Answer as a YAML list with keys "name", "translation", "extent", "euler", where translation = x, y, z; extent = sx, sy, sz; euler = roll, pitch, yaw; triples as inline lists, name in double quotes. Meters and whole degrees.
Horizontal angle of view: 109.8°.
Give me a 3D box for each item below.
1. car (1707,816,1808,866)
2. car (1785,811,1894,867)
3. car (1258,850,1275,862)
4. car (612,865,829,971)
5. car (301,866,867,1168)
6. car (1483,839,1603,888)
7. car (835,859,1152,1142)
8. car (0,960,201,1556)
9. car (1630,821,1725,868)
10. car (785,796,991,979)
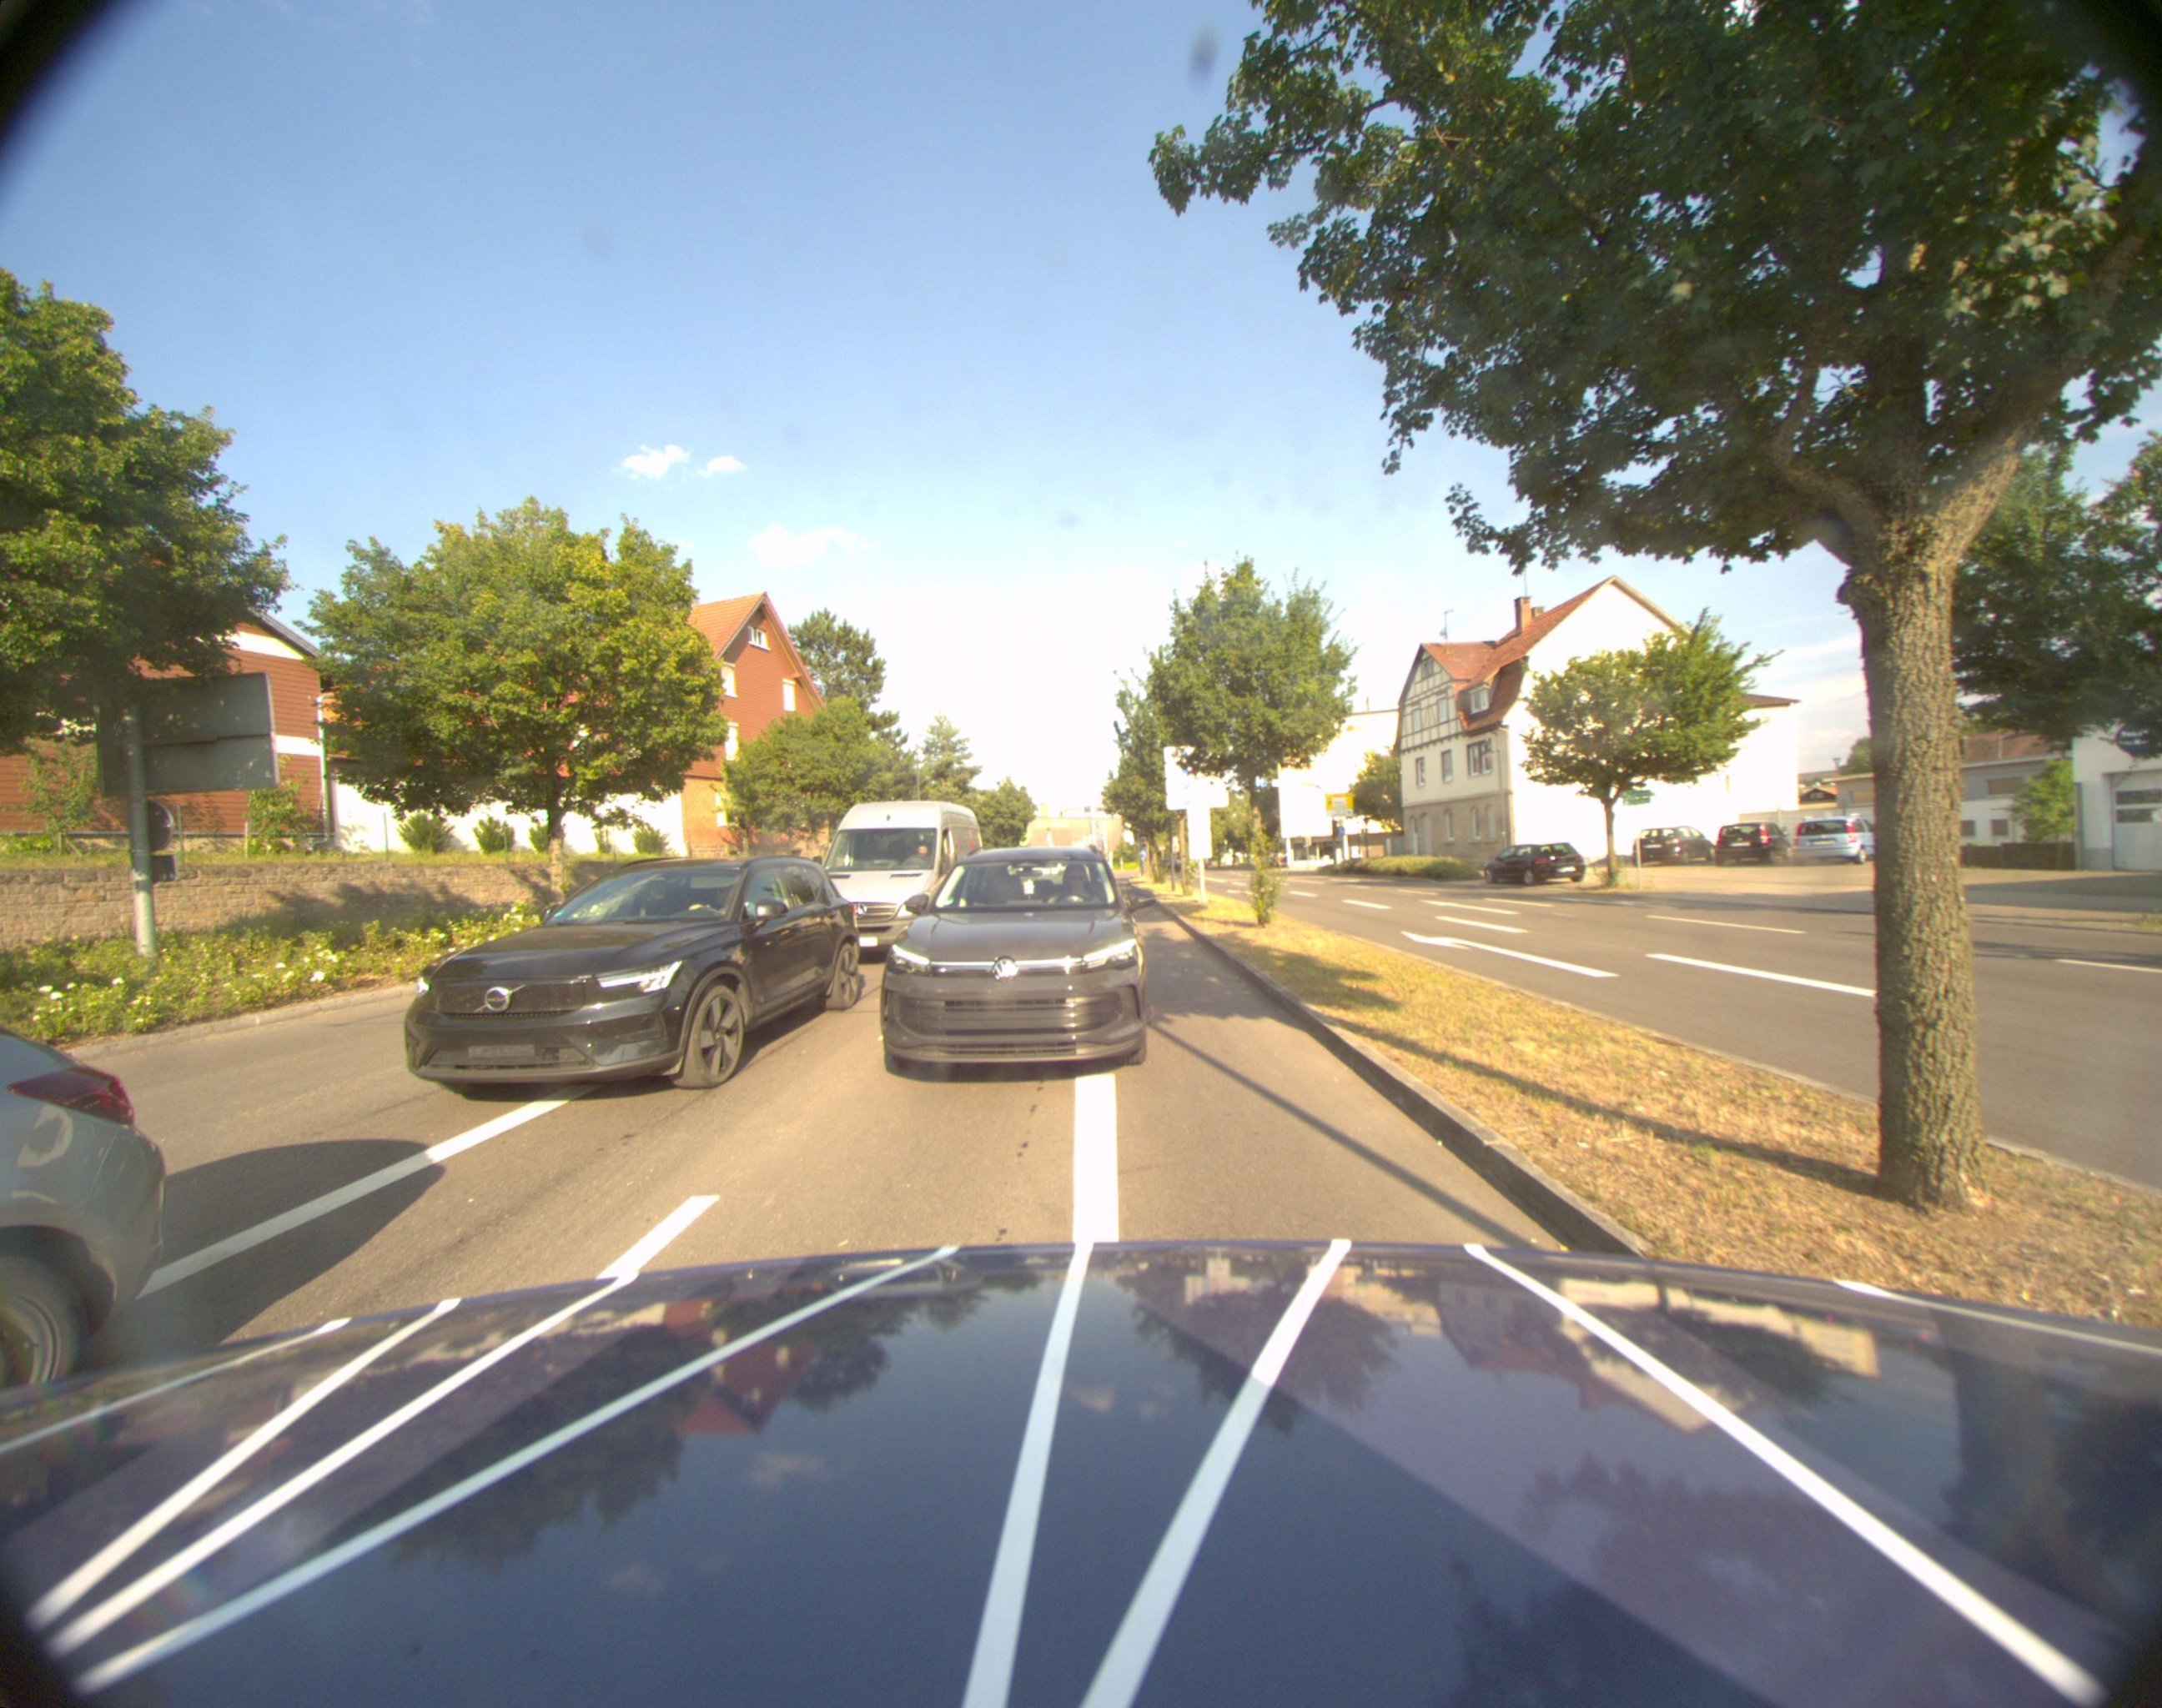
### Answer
- name: "car"
  translation: [24.653, -0.483, 27.656]
  extent: [3.830, 1.493, 1.816]
  euler: [-5, 0, -35]
- name: "car"
  translation: [24.876, -0.497, 24.890]
  extent: [3.830, 1.493, 1.816]
  euler: [-5, 0, -35]
- name: "car"
  translation: [28.583, 0.344, 117.046]
  extent: [1.779, 1.683, 4.006]
  euler: [-2, 0, 23]
- name: "car"
  translation: [-6.549, 1.061, 14.477]
  extent: [1.766, 1.599, 4.566]
  euler: [-1, 0, 3]
- name: "car"
  translation: [-3.402, 0.955, 6.428]
  extent: [1.845, 1.600, 4.318]
  euler: [-1, 0, 2]
- name: "car"
  translation: [16.029, 0.287, 26.618]
  extent: [1.818, 1.442, 3.825]
  euler: [-5, 0, 1]
- name: "car"
  translation: [-0.454, 0.880, 6.617]
  extent: [1.845, 1.600, 4.318]
  euler: [-1, 0, 2]
- name: "car"
  translation: [-3.616, 1.068, 0.180]
  extent: [1.766, 1.445, 4.318]
  euler: [-1, 0, 0]
- name: "car"
  translation: [23.375, -0.385, 29.752]
  extent: [3.830, 1.493, 1.816]
  euler: [-5, 0, -35]
- name: "car"
  translation: [-3.074, 0.460, 13.713]
  extent: [1.992, 2.554, 6.046]
  euler: [-1, 0, 2]
